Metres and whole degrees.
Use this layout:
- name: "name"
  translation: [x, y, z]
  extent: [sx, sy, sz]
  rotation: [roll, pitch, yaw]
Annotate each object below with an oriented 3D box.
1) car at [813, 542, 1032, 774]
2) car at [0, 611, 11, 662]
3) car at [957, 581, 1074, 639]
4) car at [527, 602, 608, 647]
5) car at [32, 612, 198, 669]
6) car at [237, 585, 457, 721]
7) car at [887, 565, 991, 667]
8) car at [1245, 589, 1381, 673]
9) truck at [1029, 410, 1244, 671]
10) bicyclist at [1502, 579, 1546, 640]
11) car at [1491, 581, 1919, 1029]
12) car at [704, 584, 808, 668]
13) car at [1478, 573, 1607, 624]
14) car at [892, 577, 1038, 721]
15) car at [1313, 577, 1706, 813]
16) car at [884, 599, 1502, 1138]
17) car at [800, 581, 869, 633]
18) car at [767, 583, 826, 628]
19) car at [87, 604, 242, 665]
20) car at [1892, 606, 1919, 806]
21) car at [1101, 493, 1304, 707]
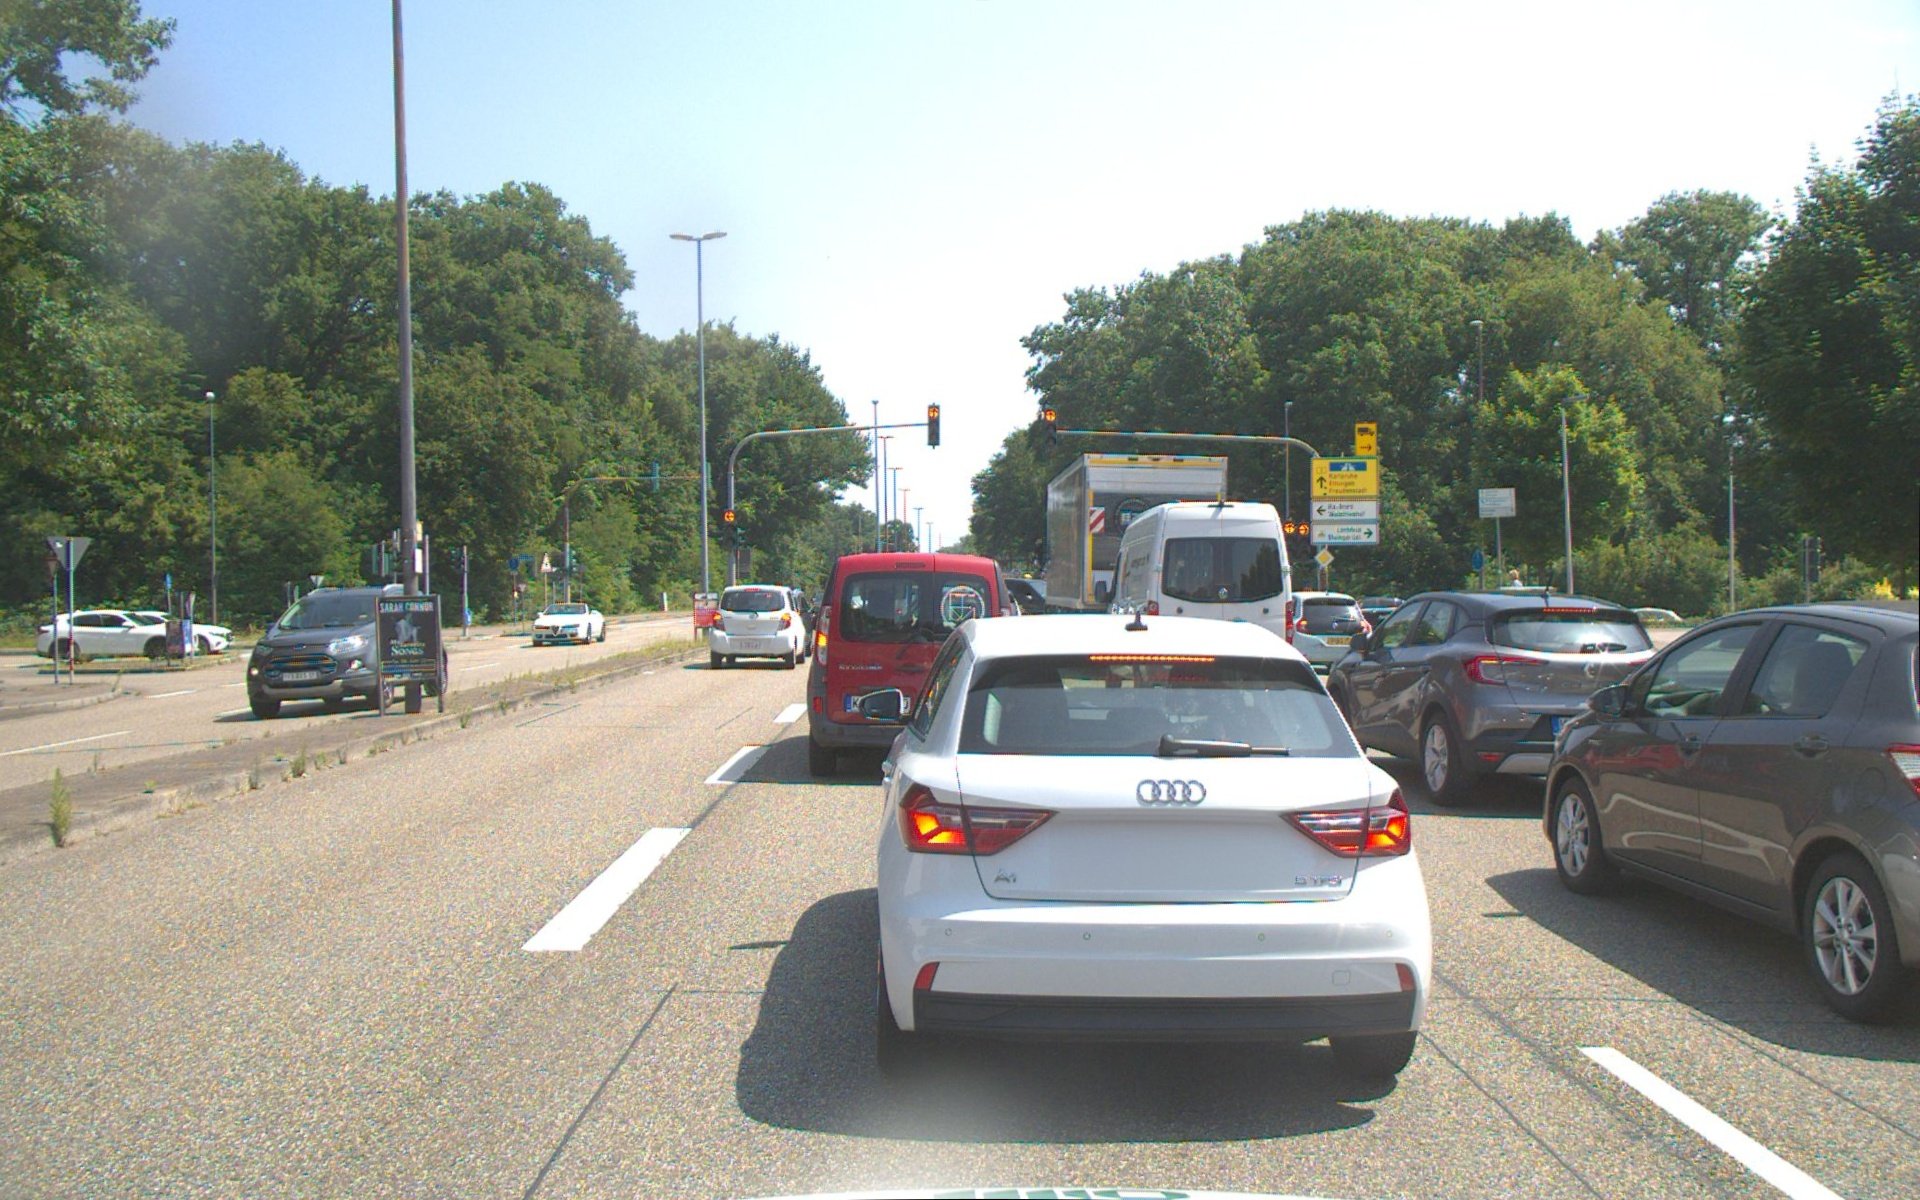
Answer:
- name: "car"
  translation: [-0.378, 0.436, 14.767]
  extent: [1.677, 1.779, 4.090]
  rotation: [0, 0, -3]
- name: "car"
  translation: [-34.464, 1.208, 55.346]
  extent: [4.294, 1.711, 1.805]
  rotation: [1, -1, -12]
- name: "car"
  translation: [2.034, 0.366, 61.010]
  extent: [3.926, 2.049, 1.990]
  rotation: [-1, 0, 40]
- name: "car"
  translation: [-12.824, 0.775, 54.296]
  extent: [1.683, 1.284, 4.300]
  rotation: [-3, 0, -2]
- name: "car"
  translation: [-26.740, 1.270, 52.461]
  extent: [4.290, 1.711, 1.807]
  rotation: [1, 0, -9]
- name: "car"
  translation: [-8.376, 0.667, 22.955]
  extent: [1.653, 1.628, 3.883]
  rotation: [-3, 0, -3]
- name: "car"
  translation: [-0.431, 0.254, 29.043]
  extent: [1.677, 1.660, 4.090]
  rotation: [0, 0, -3]
- name: "car"
  translation: [6.943, 0.563, 32.902]
  extent: [1.677, 1.573, 4.090]
  rotation: [0, 0, -3]
- name: "truck"
  translation: [3.319, -1.080, 34.620]
  extent: [3.026, 4.511, 11.578]
  rotation: [1, 0, -1]
- name: "bicyclist"
  translation: [13.612, 0.230, 39.924]
  extent: [0.814, 1.464, 0.596]
  rotation: [-1, 0, 41]
- name: "car"
  translation: [4.007, 0.717, 7.487]
  extent: [1.678, 1.504, 4.090]
  rotation: [3, 0, -3]
- name: "car"
  translation: [-3.909, 0.457, 32.188]
  extent: [1.677, 1.519, 4.090]
  rotation: [0, 0, -3]
- name: "car"
  translation: [20.679, -0.070, 58.836]
  extent: [3.904, 1.719, 1.879]
  rotation: [-1, 0, 1]
- name: "car"
  translation: [-0.024, 0.554, 21.228]
  extent: [1.677, 1.660, 4.090]
  rotation: [0, 0, -3]
- name: "car"
  translation: [4.229, 0.640, 13.441]
  extent: [1.677, 1.621, 4.090]
  rotation: [0, 0, -3]
- name: "car"
  translation: [0.548, 0.719, 6.505]
  extent: [1.677, 1.410, 4.090]
  rotation: [0, 0, -3]
- name: "car"
  translation: [-5.221, 0.265, 68.329]
  extent: [1.963, 2.049, 3.980]
  rotation: [-1, 0, -18]
- name: "car"
  translation: [-7.788, 0.247, 78.469]
  extent: [1.963, 2.049, 3.980]
  rotation: [-1, 0, -18]
- name: "car"
  translation: [-27.000, 1.145, 56.276]
  extent: [4.291, 1.710, 1.807]
  rotation: [-4, 0, -9]
- name: "car"
  translation: [7.549, 0.781, 9.858]
  extent: [1.604, 1.395, 4.145]
  rotation: [1, 1, -1]
- name: "car"
  translation: [3.264, -0.013, 23.260]
  extent: [1.990, 2.690, 4.843]
  rotation: [0, 0, -2]
